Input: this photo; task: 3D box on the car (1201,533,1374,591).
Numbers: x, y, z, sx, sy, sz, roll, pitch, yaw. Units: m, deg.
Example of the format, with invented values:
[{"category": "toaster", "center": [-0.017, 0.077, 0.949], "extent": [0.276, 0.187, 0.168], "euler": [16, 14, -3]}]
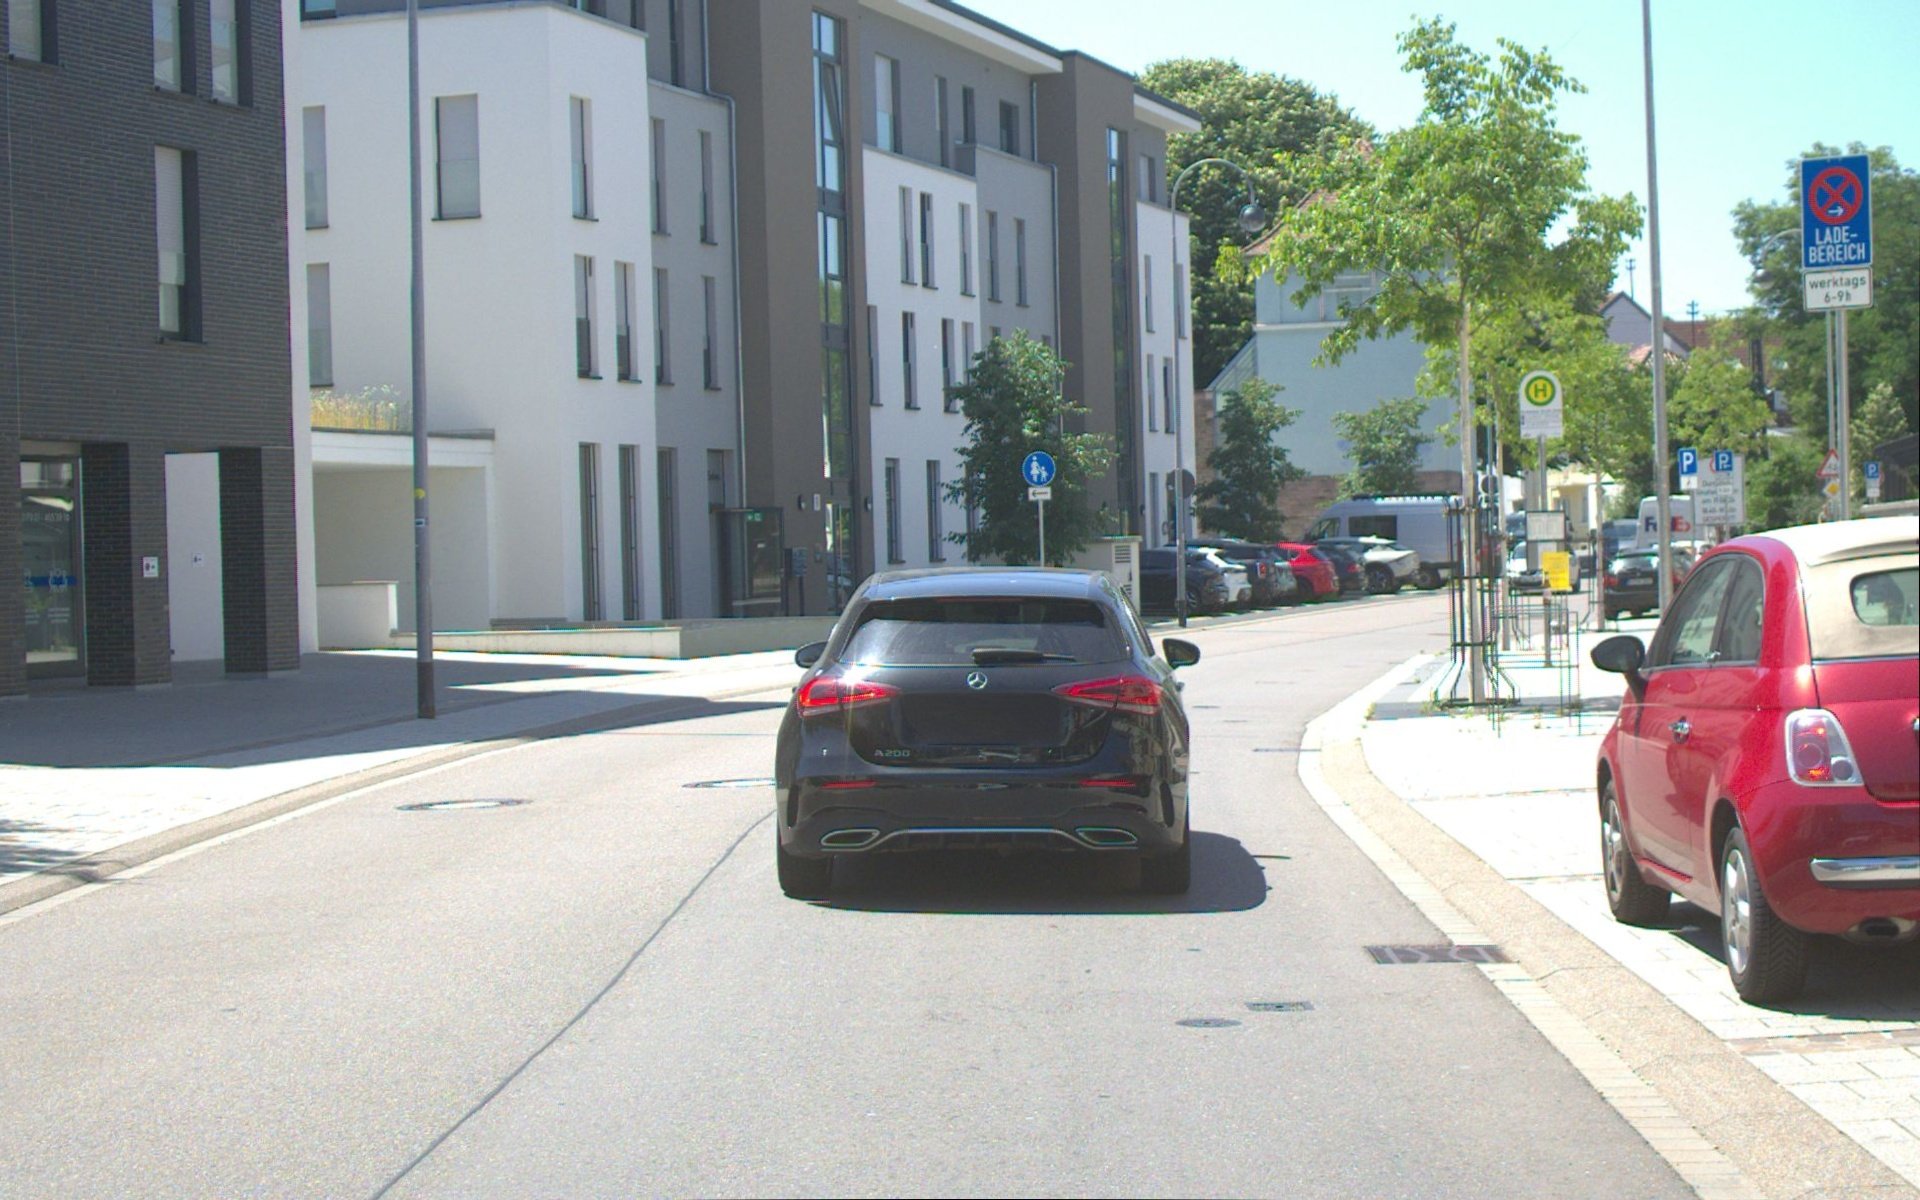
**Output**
[{"category": "car", "center": [8.440, -0.989, 88.522], "extent": [4.202, 1.432, 1.885], "euler": [1, 1, 15]}]

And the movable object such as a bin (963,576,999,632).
[{"category": "movable object such as a bin", "center": [0.381, 0.070, 61.988], "extent": [0.483, 0.994, 0.587], "euler": [-1, 1, 17]}]

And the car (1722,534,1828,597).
[{"category": "car", "center": [19.541, -0.836, 82.334], "extent": [1.726, 1.400, 4.604], "euler": [-2, 0, 22]}]

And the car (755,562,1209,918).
[{"category": "car", "center": [-0.024, 0.549, 16.099], "extent": [1.827, 1.437, 4.001], "euler": [-1, 1, -4]}]

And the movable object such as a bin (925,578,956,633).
[{"category": "movable object such as a bin", "center": [-0.359, 0.096, 62.379], "extent": [0.403, 0.994, 0.555], "euler": [-1, 1, 17]}]

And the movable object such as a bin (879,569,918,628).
[{"category": "movable object such as a bin", "center": [-1.138, -0.033, 64.079], "extent": [0.692, 1.092, 0.647], "euler": [-1, 1, 1]}]

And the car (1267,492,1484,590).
[{"category": "car", "center": [11.862, -1.706, 98.138], "extent": [5.773, 2.723, 2.289], "euler": [1, 1, 20]}]

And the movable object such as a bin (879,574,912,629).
[{"category": "movable object such as a bin", "center": [-1.174, 0.024, 62.794], "extent": [0.483, 0.994, 0.587], "euler": [-1, 1, 11]}]

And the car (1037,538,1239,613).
[{"category": "car", "center": [3.873, -0.544, 74.785], "extent": [3.991, 1.510, 1.998], "euler": [1, 3, 19]}]

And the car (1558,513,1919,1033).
[{"category": "car", "center": [3.222, 0.467, 11.906], "extent": [1.679, 1.509, 3.387], "euler": [-3, 1, 1]}]

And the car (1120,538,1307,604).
[{"category": "car", "center": [6.054, -0.709, 81.994], "extent": [4.036, 1.491, 1.998], "euler": [1, 1, 21]}]

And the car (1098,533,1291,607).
[{"category": "car", "center": [5.414, -0.704, 79.242], "extent": [4.036, 1.645, 1.998], "euler": [1, 1, 21]}]

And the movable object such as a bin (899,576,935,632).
[{"category": "movable object such as a bin", "center": [-0.773, 0.064, 61.943], "extent": [0.483, 0.994, 0.526], "euler": [0, 1, 19]}]

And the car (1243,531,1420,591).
[{"category": "car", "center": [10.118, -1.086, 93.639], "extent": [4.458, 1.586, 1.998], "euler": [1, 1, 19]}]

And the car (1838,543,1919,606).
[{"category": "car", "center": [25.143, -0.721, 92.338], "extent": [1.875, 1.486, 3.855], "euler": [-2, 2, 32]}]

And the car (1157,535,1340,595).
[{"category": "car", "center": [7.037, -0.869, 83.817], "extent": [4.036, 1.425, 1.998], "euler": [1, 1, 21]}]

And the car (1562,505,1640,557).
[{"category": "car", "center": [20.804, -2.222, 111.436], "extent": [1.944, 1.653, 4.232], "euler": [0, 1, 18]}]

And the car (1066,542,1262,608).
[{"category": "car", "center": [4.572, -0.579, 76.870], "extent": [3.991, 1.416, 1.908], "euler": [1, 1, 19]}]

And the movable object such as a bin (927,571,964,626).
[{"category": "movable object such as a bin", "center": [-0.275, -0.032, 65.025], "extent": [0.675, 1.035, 0.604], "euler": [-1, 1, 1]}]

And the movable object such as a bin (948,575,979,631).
[{"category": "movable object such as a bin", "center": [0.067, 0.049, 62.267], "extent": [0.403, 0.994, 0.555], "euler": [-1, 1, 17]}]

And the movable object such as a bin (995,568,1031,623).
[{"category": "movable object such as a bin", "center": [0.994, -0.085, 64.730], "extent": [0.554, 1.016, 0.560], "euler": [-1, 1, 14]}]

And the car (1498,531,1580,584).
[{"category": "car", "center": [15.598, -1.144, 92.506], "extent": [1.668, 1.391, 3.844], "euler": [0, 1, 17]}]

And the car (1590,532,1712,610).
[{"category": "car", "center": [14.241, -0.591, 70.739], "extent": [1.834, 1.477, 4.091], "euler": [-3, 0, 20]}]

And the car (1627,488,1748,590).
[{"category": "car", "center": [19.459, -1.626, 91.818], "extent": [2.130, 2.621, 5.271], "euler": [0, 1, 24]}]

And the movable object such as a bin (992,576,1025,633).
[{"category": "movable object such as a bin", "center": [0.874, 0.081, 61.631], "extent": [0.483, 0.994, 0.587], "euler": [-1, 1, 11]}]
